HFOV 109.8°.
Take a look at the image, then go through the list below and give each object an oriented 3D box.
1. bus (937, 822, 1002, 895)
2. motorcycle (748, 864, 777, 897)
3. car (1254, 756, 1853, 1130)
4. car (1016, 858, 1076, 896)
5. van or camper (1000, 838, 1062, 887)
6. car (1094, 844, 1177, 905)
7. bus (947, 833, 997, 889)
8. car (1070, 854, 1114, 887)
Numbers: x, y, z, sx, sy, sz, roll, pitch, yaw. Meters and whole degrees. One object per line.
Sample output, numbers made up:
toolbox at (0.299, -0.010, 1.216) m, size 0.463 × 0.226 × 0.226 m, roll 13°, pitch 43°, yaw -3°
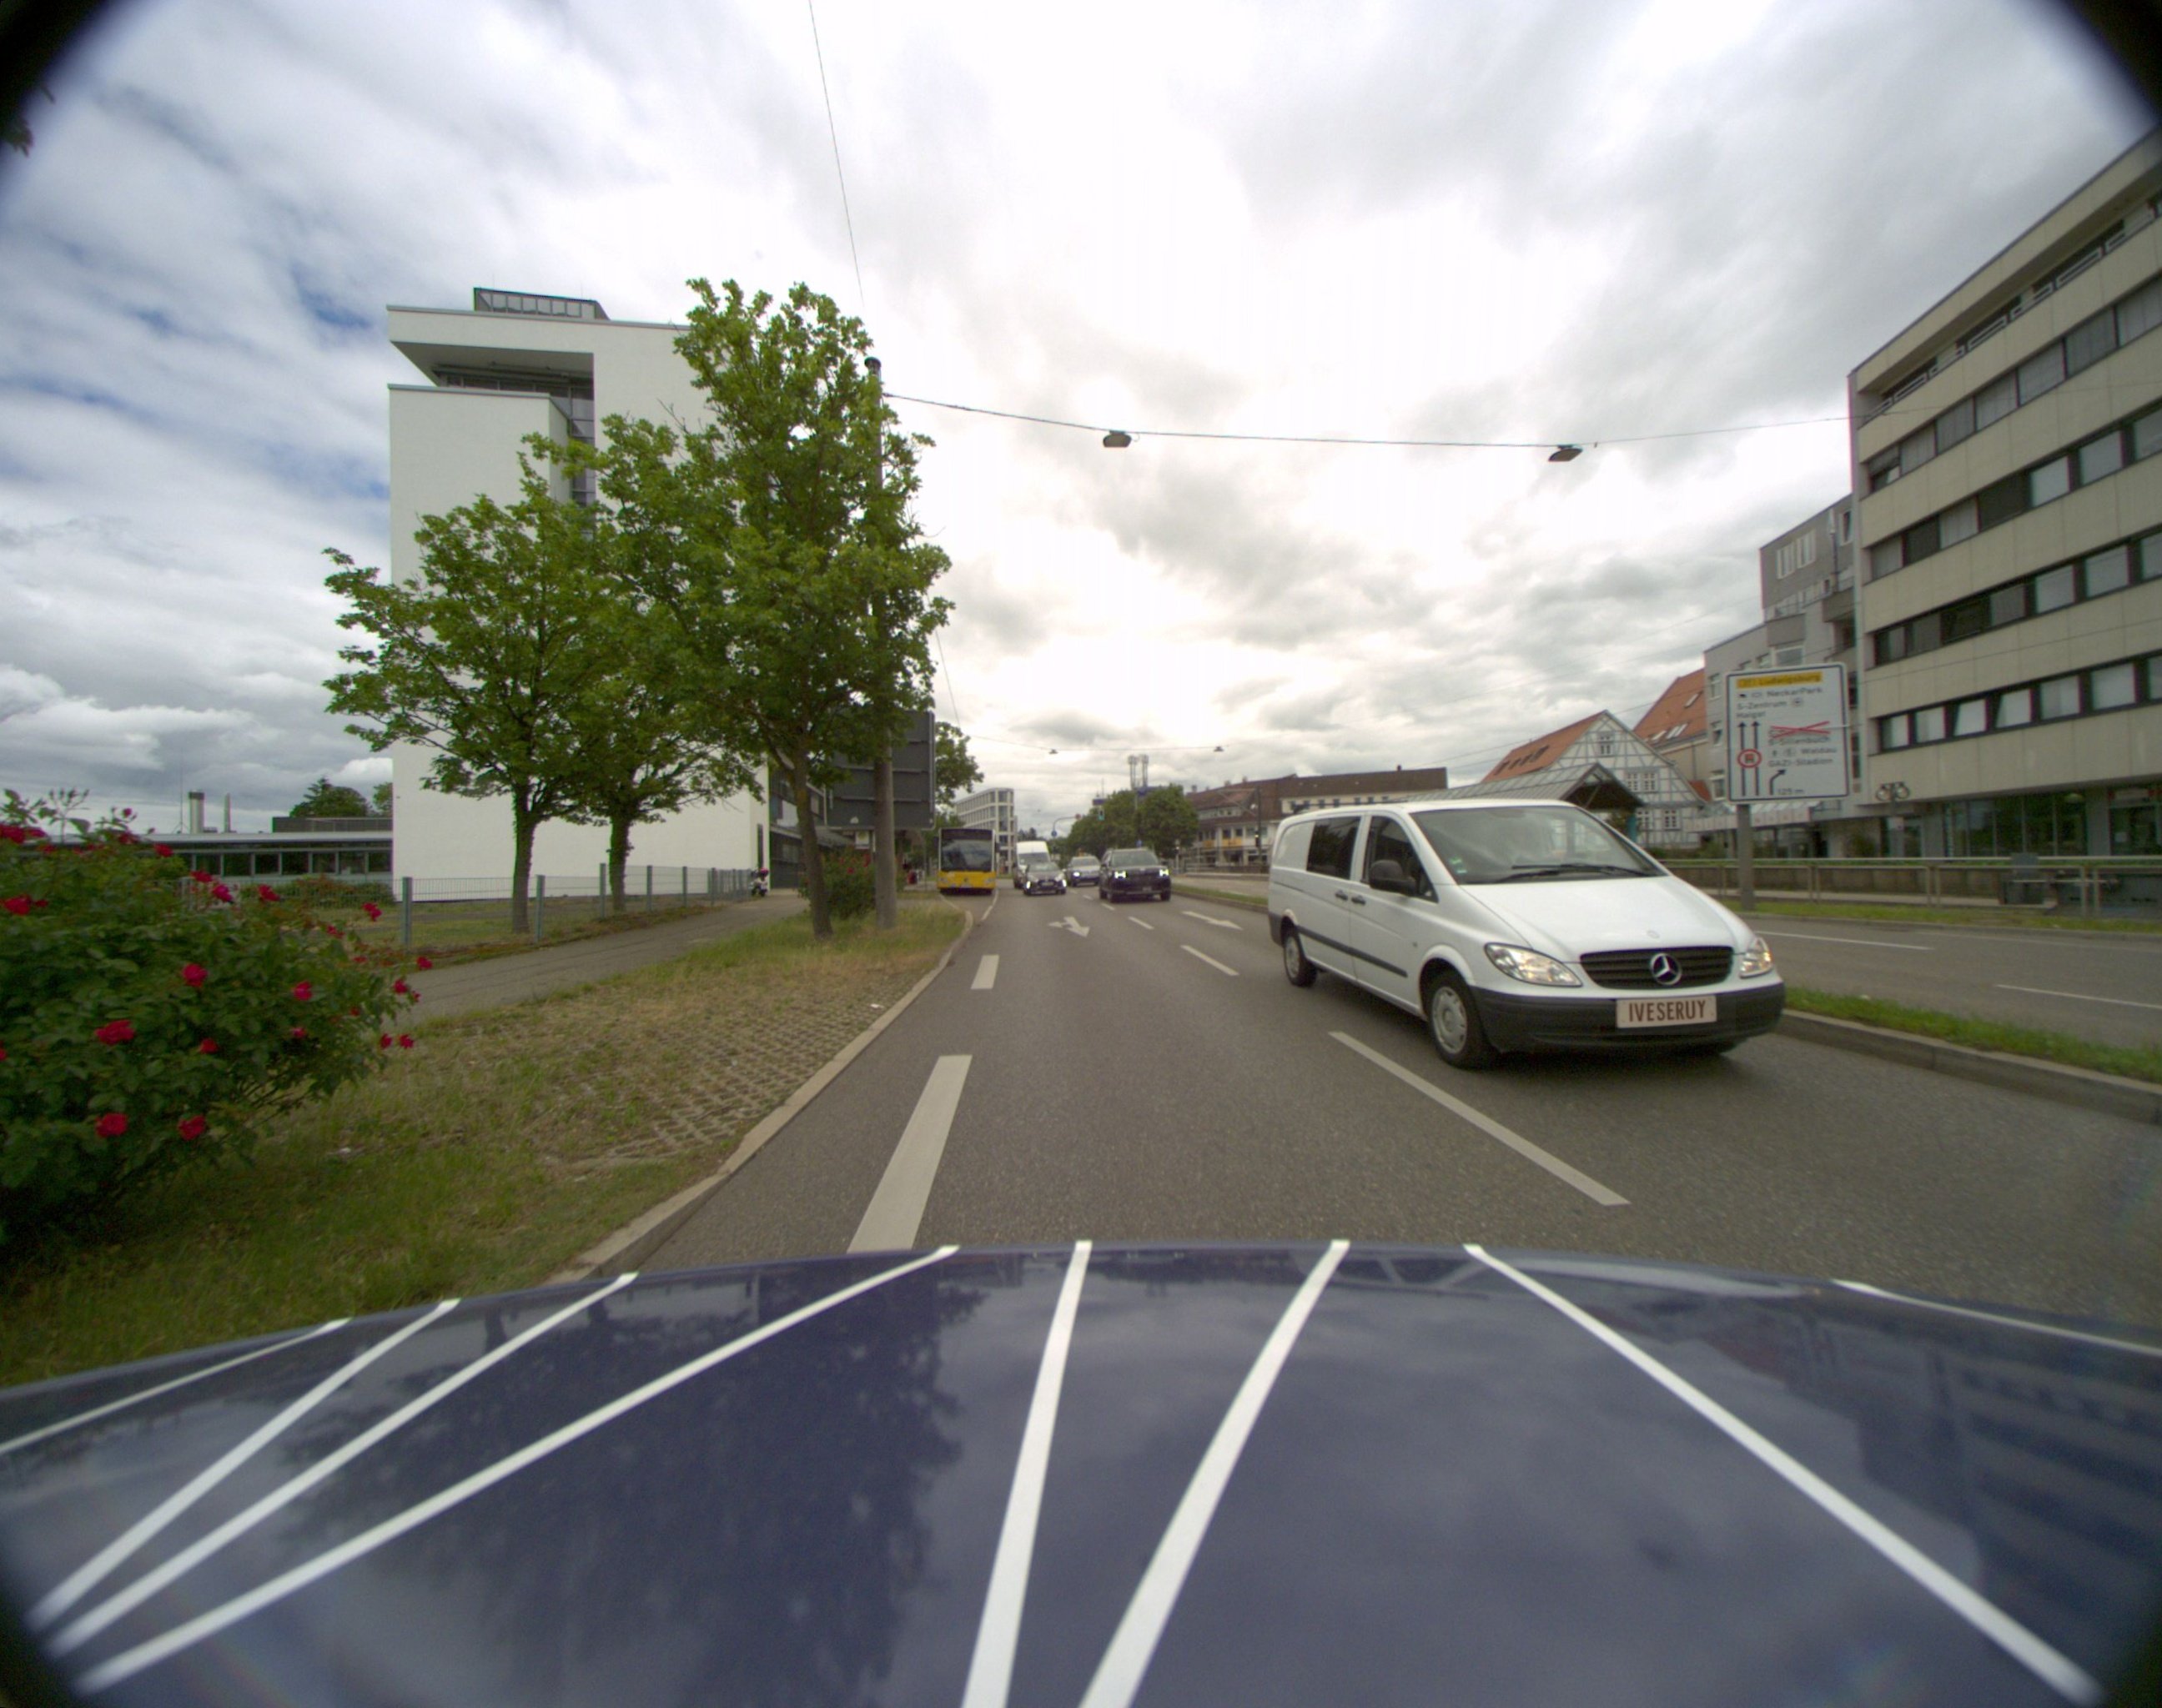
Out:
bus at (-5.420, 0.264, 37.447) m, size 2.721 × 3.145 × 9.122 m, roll 1°, pitch -1°, yaw -7°
motorcycle at (-12.237, 0.993, 29.166) m, size 0.585 × 1.214 × 1.577 m, roll -2°, pitch 1°, yaw -38°
car at (3.195, 0.510, 6.706) m, size 1.879 × 2.001 × 5.075 m, roll -1°, pitch -1°, yaw -3°
car at (-1.618, 0.990, 33.670) m, size 1.865 × 1.516 × 3.995 m, roll -1°, pitch -1°, yaw -15°
van or camper at (-3.107, 0.517, 45.284) m, size 2.282 × 2.690 × 6.987 m, roll -1°, pitch -1°, yaw -15°
car at (1.692, 0.619, 25.444) m, size 1.928 × 1.741 × 4.676 m, roll -3°, pitch 1°, yaw -5°
bus at (-6.512, 0.448, 46.353) m, size 2.720 × 3.090 × 8.865 m, roll 0°, pitch -1°, yaw -7°
car at (0.533, 0.873, 41.800) m, size 1.999 × 1.640 × 4.392 m, roll -3°, pitch 0°, yaw -4°
